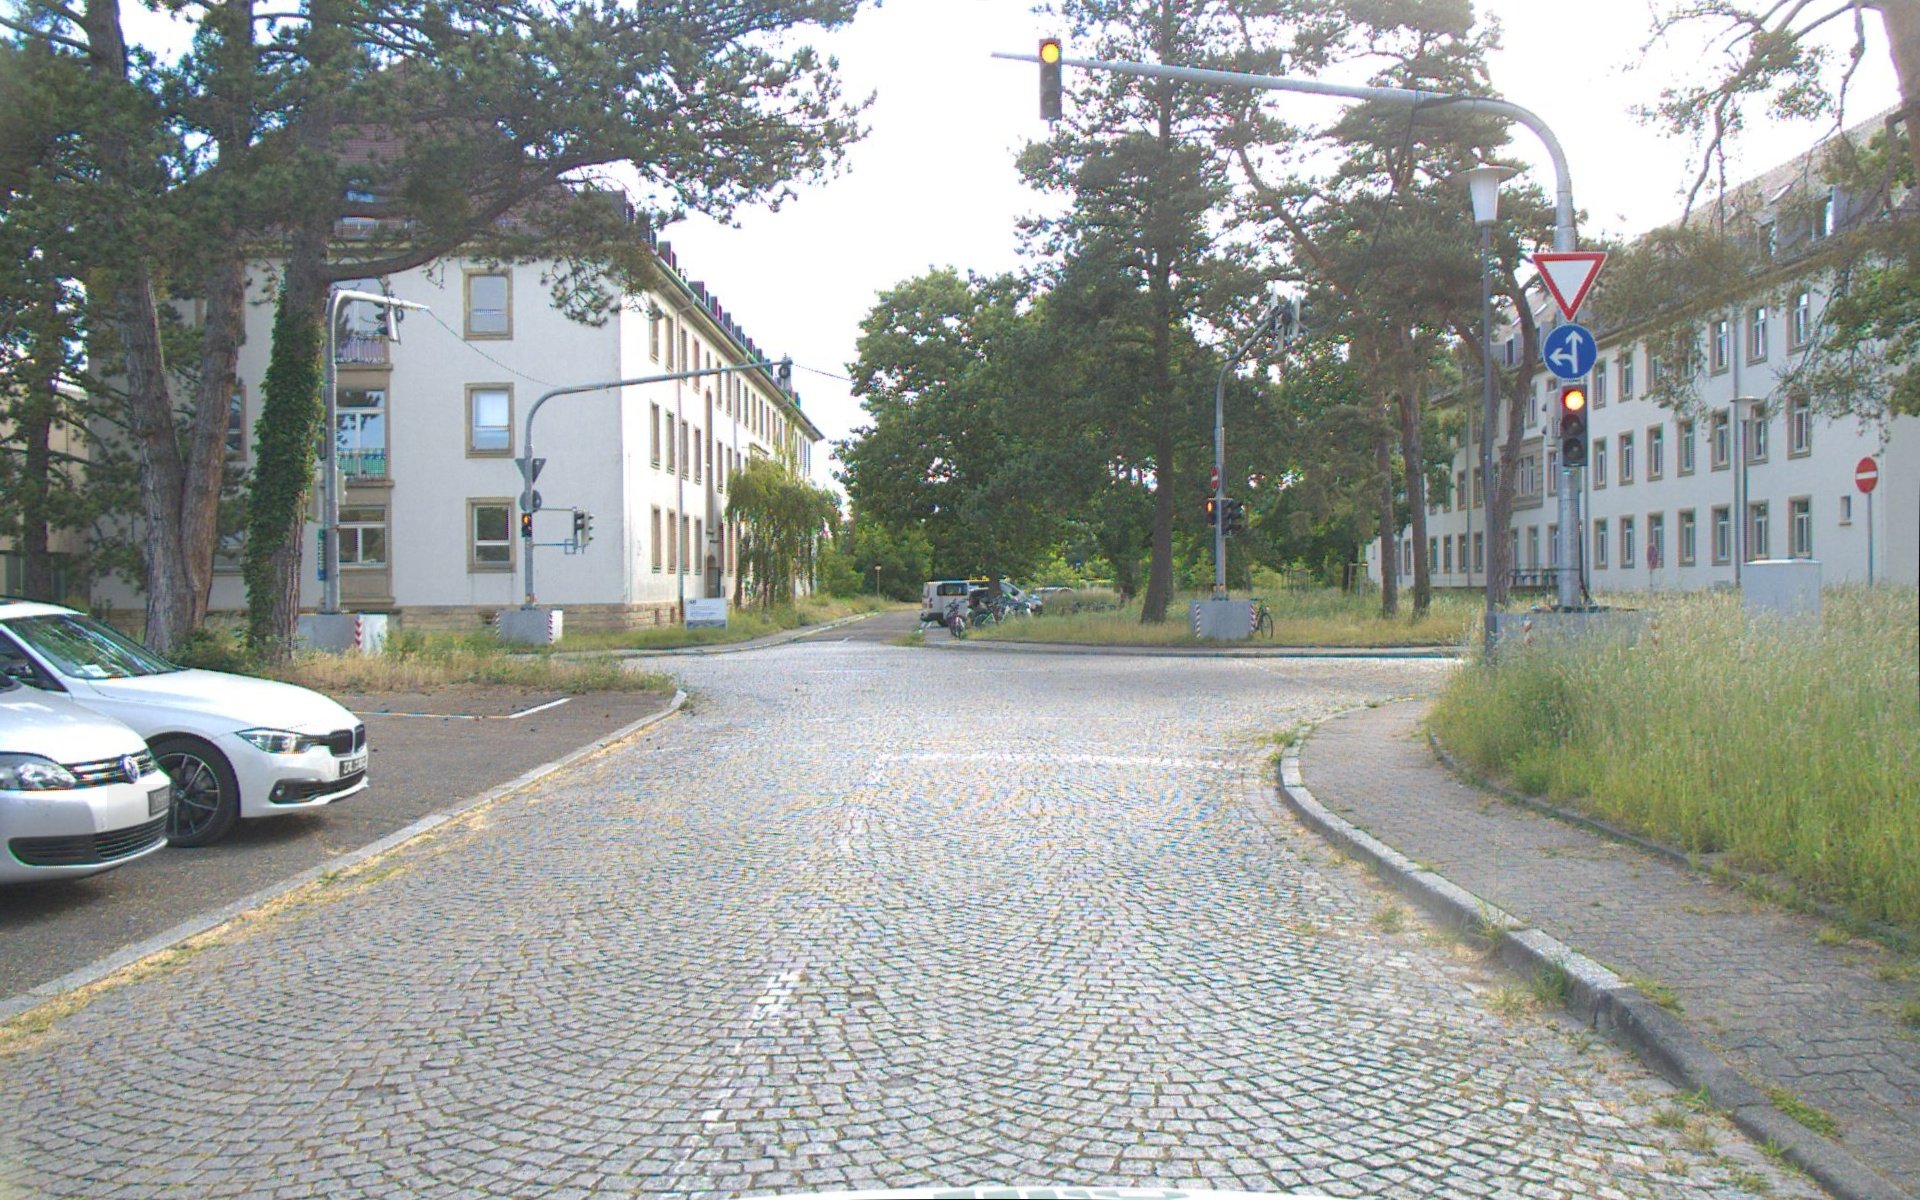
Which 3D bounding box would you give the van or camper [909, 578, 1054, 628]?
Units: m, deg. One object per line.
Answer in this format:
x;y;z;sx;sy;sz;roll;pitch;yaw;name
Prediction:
0.906;0.113;70.673;5.929;1.983;1.993;-1;0;-14;van or camper

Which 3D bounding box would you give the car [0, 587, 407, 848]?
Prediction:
-6.094;0.671;10.707;4.389;1.467;1.829;2;0;-4;car

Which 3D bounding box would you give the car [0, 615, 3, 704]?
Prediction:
-5.512;0.715;5.373;3.758;1.433;1.695;2;0;-1;car

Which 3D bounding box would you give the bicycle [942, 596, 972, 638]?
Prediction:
-0.075;0.478;48.422;0.711;1.127;2.462;-5;0;1;bicycle

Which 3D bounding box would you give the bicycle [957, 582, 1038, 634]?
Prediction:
1.330;0.285;57.463;2.717;1.723;1.121;2;0;4;bicycle

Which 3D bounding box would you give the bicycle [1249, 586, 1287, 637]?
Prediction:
7.597;0.279;40.908;0.708;1.189;2.739;1;0;6;bicycle

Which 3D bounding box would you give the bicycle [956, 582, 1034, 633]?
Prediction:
1.250;0.264;58.801;2.718;1.723;1.120;2;0;1;bicycle

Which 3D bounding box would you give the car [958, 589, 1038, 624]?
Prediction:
1.517;0.245;67.096;3.077;1.378;1.618;-1;0;-6;car

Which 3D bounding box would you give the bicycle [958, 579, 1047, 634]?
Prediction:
1.376;0.204;53.897;2.723;1.723;1.118;-1;0;-8;bicycle

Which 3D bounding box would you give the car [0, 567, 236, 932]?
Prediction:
-5.893;0.622;8.241;3.754;1.635;1.735;2;0;-3;car

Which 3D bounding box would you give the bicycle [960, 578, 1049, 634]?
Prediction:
1.398;0.183;52.703;2.722;1.723;1.119;-1;0;-6;bicycle
